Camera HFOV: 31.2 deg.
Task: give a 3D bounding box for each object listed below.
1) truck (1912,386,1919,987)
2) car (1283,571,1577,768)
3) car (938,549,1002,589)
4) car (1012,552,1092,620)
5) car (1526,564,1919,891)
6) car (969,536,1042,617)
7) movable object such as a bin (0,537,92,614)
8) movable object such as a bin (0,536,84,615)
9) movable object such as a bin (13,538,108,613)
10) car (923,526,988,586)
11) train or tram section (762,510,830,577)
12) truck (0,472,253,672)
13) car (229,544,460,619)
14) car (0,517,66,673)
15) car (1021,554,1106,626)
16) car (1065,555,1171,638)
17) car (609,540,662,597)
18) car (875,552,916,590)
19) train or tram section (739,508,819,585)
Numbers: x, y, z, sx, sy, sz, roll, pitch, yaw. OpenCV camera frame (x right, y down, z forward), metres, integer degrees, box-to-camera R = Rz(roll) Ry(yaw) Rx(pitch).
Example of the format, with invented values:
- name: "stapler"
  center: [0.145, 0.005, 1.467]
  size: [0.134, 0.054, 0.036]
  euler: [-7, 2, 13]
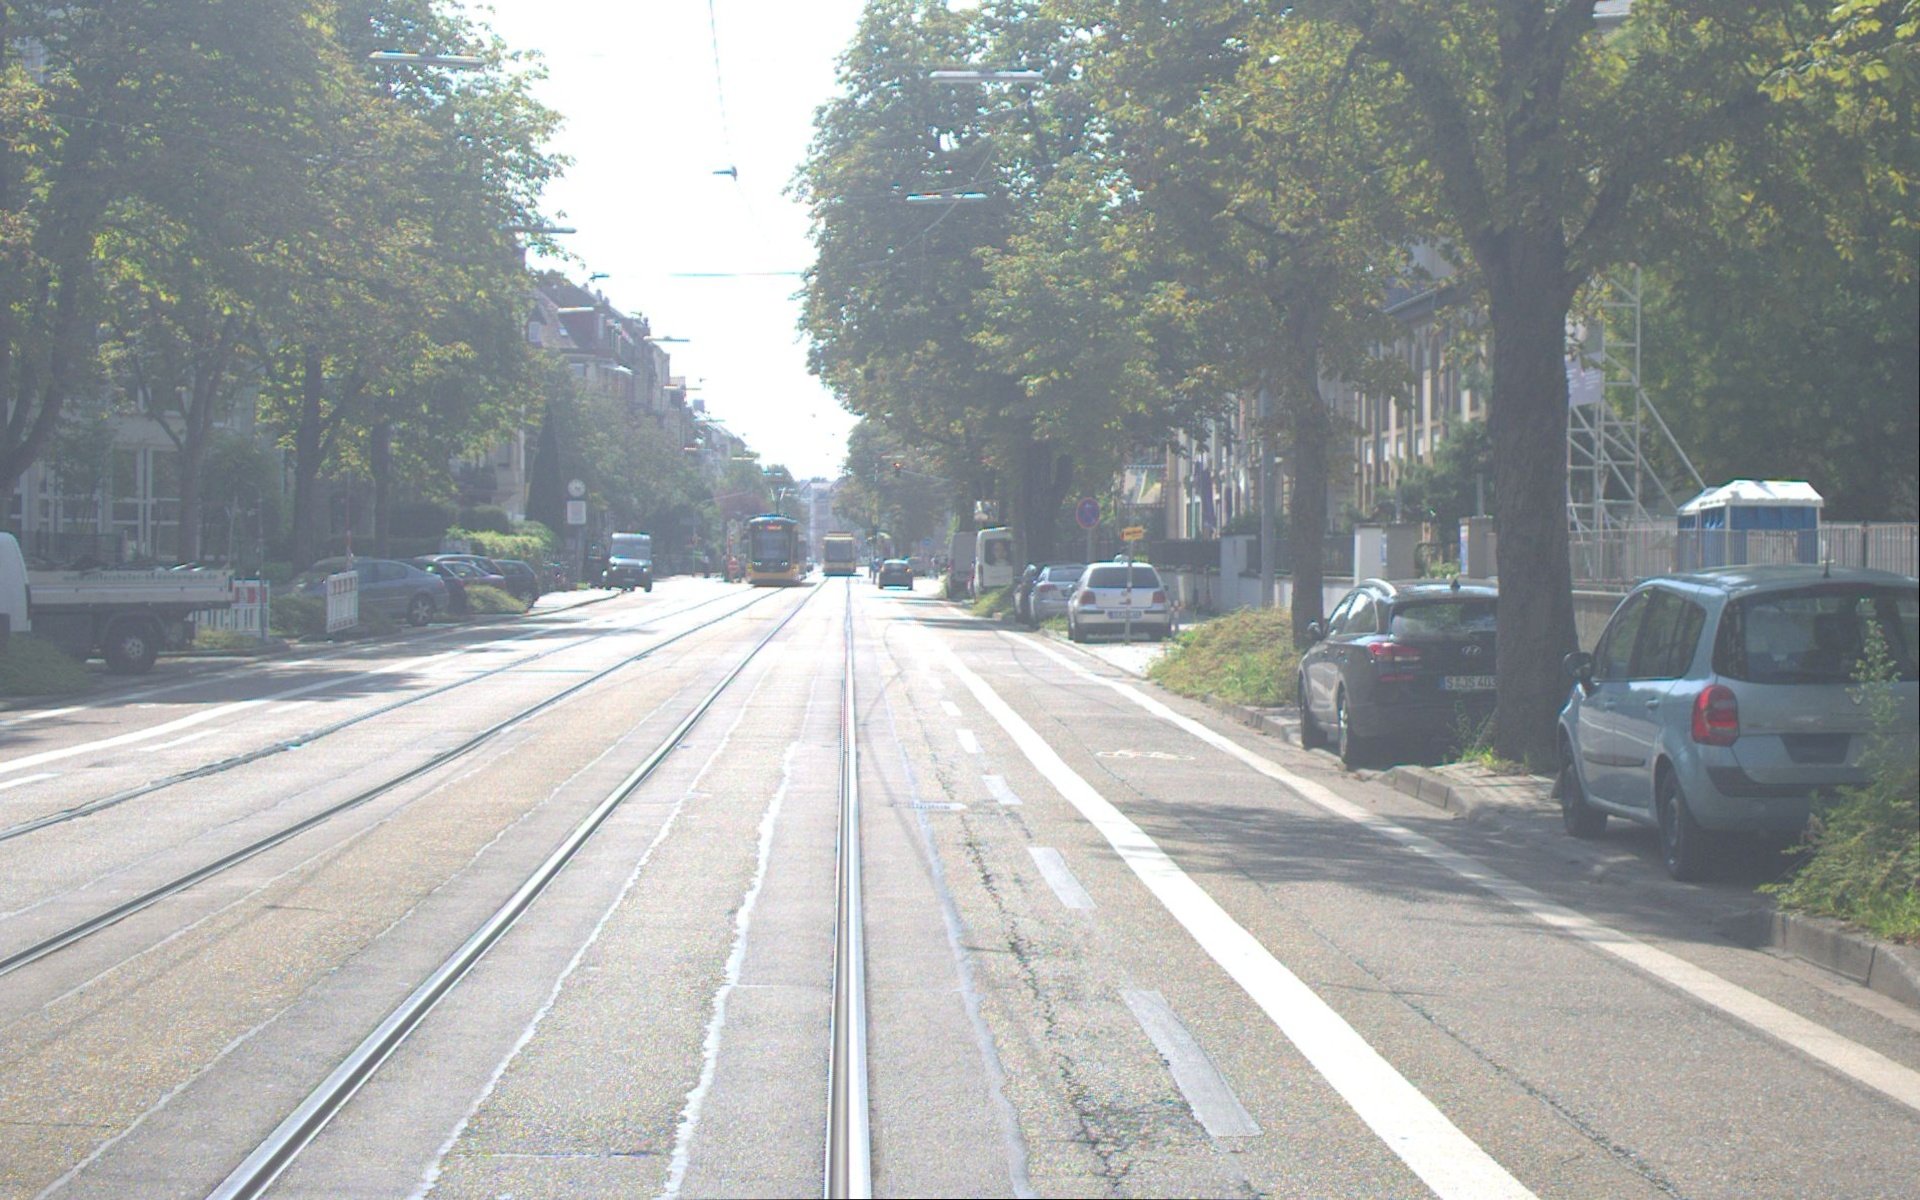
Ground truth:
- name: "truck"
  center: [4.482, 0.108, 9.419]
  size: [1.916, 2.590, 5.593]
  euler: [1, 1, -3]
- name: "car"
  center: [3.816, 0.511, 28.634]
  size: [1.674, 1.453, 4.664]
  euler: [0, 1, -2]
- name: "car"
  center: [0.349, -1.120, 123.660]
  size: [1.993, 1.393, 4.001]
  euler: [0, 1, -4]
- name: "car"
  center: [2.157, -0.355, 81.822]
  size: [1.794, 1.571, 4.000]
  euler: [1, 1, 0]
- name: "car"
  center: [4.374, 0.607, 18.951]
  size: [1.674, 1.574, 4.172]
  euler: [-1, 0, -2]
- name: "car"
  center: [1.357, -0.708, 103.393]
  size: [1.993, 2.357, 4.000]
  euler: [1, 1, -1]
- name: "movable object such as a bin"
  center: [-18.705, -0.512, 70.139]
  size: [1.682, 1.554, 1.354]
  euler: [0, 1, -3]
- name: "movable object such as a bin"
  center: [-18.477, -0.492, 68.589]
  size: [1.682, 1.554, 1.354]
  euler: [0, 1, -3]
- name: "movable object such as a bin"
  center: [-18.730, -0.518, 71.616]
  size: [1.682, 1.554, 1.354]
  euler: [0, 1, -3]
- name: "car"
  center: [-0.185, -1.676, 130.468]
  size: [1.993, 2.226, 4.001]
  euler: [0, 1, -6]
- name: "train or tram section"
  center: [-9.441, -3.290, 199.494]
  size: [3.497, 3.691, 12.413]
  euler: [1, 1, -1]
- name: "truck"
  center: [-11.979, -0.360, 42.757]
  size: [5.952, 2.426, 2.150]
  euler: [-1, 1, -41]
- name: "car"
  center: [-12.722, -0.403, 71.305]
  size: [1.675, 1.447, 4.677]
  euler: [1, 2, 42]
- name: "car"
  center: [-12.404, -0.062, 38.549]
  size: [4.274, 1.766, 1.824]
  euler: [-1, 1, -45]
- name: "car"
  center: [2.248, -0.231, 75.648]
  size: [1.640, 1.506, 3.641]
  euler: [1, 0, -1]
- name: "car"
  center: [2.829, -0.084, 62.165]
  size: [1.791, 1.441, 3.733]
  euler: [-1, 1, 1]
- name: "car"
  center: [-14.422, -1.405, 152.918]
  size: [2.241, 2.433, 4.001]
  euler: [1, 1, -5]
- name: "car"
  center: [-3.198, -1.442, 170.194]
  size: [1.993, 1.795, 4.000]
  euler: [1, 1, -1]
- name: "train or tram section"
  center: [-9.120, -2.747, 174.652]
  size: [3.497, 3.691, 12.413]
  euler: [1, 1, -1]
